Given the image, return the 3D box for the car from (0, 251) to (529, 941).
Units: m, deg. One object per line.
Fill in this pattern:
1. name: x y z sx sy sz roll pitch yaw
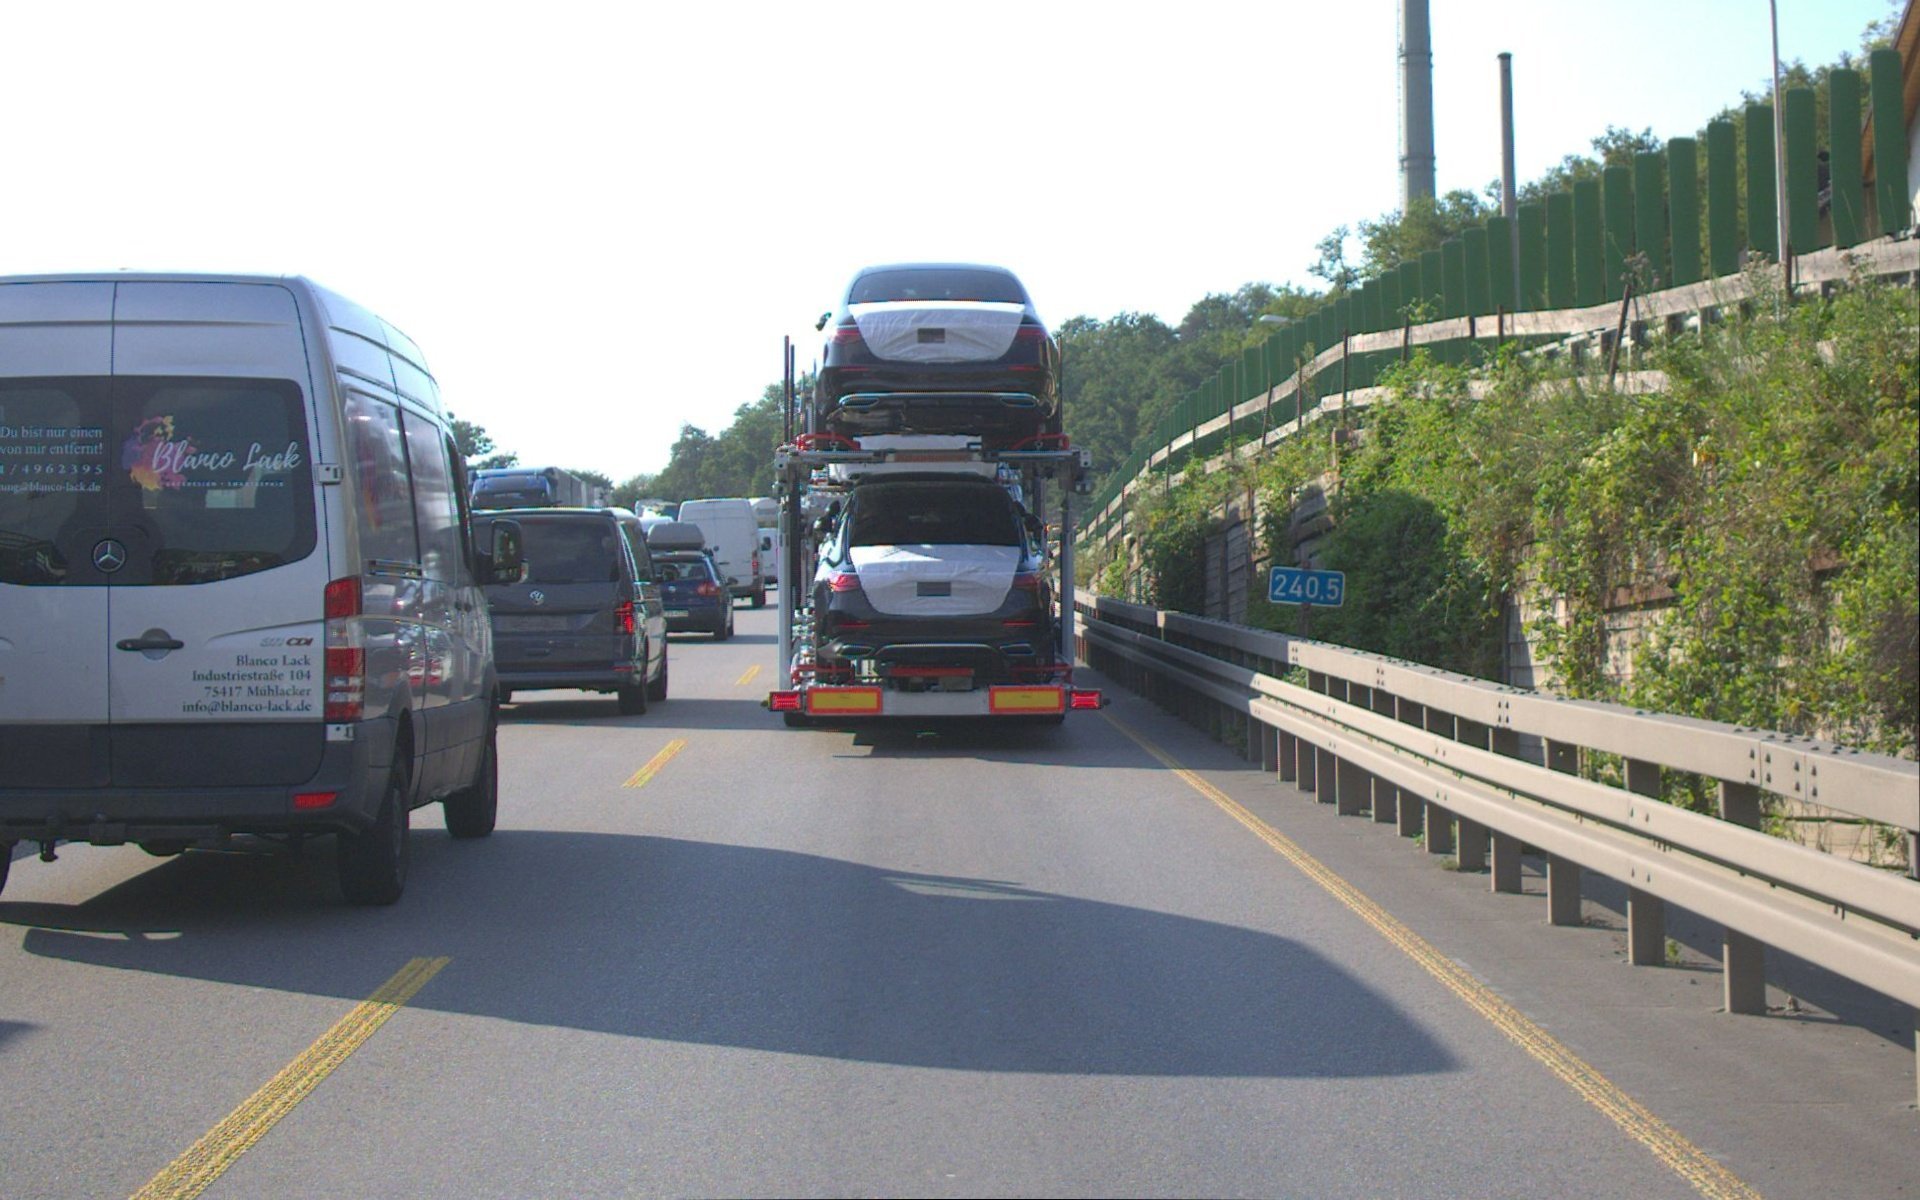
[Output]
1. car: -3.338 -0.056 16.002 1.993 2.639 5.531 -1 1 -1

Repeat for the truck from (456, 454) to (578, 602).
1. truck: -13.150 -2.132 102.719 2.624 4.098 9.629 -3 1 -2

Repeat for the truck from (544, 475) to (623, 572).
1. truck: -16.937 -3.362 155.507 2.982 4.139 15.858 0 1 -4

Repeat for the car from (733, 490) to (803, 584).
1. car: -10.699 -3.472 190.801 3.444 5.018 9.655 0 1 -6

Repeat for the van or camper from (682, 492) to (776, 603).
1. van or camper: -5.509 -1.224 82.572 1.968 2.583 5.042 1 0 -1

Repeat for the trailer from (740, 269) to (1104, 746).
1. trailer: -0.346 -0.704 33.210 2.682 3.523 15.289 0 0 0

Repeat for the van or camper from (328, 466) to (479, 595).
1. van or camper: -12.232 -1.517 75.968 2.312 2.653 6.455 -2 1 -1

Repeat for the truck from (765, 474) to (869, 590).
1. truck: -5.916 -2.812 143.859 4.065 4.663 10.592 0 1 -1

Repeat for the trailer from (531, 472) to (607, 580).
1. trailer: -15.455 -2.918 136.469 2.709 4.079 12.571 0 1 -5

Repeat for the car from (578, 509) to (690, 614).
1. car: -8.057 -0.946 85.298 2.471 2.525 4.000 0 0 -1

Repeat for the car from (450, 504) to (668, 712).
1. car: -3.864 0.086 33.679 1.808 1.897 4.000 1 0 -2

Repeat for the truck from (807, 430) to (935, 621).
1. truck: -2.309 -1.855 86.733 2.907 4.591 7.287 0 1 -4

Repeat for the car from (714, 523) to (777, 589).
1. car: -6.891 -1.425 110.788 1.885 2.093 3.765 0 1 -1

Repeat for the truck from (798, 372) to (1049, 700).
1. truck: -0.424 -0.699 40.779 2.682 3.523 7.194 0 0 0

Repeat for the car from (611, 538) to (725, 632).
1. car: -4.912 -0.277 58.246 1.725 1.517 3.974 1 1 -2

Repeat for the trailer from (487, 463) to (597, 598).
1. trailer: -13.576 -2.290 112.373 2.605 4.098 9.629 -3 1 -2

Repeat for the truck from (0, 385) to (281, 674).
1. truck: -11.159 -0.838 45.754 2.714 3.413 8.141 -3 0 -2
